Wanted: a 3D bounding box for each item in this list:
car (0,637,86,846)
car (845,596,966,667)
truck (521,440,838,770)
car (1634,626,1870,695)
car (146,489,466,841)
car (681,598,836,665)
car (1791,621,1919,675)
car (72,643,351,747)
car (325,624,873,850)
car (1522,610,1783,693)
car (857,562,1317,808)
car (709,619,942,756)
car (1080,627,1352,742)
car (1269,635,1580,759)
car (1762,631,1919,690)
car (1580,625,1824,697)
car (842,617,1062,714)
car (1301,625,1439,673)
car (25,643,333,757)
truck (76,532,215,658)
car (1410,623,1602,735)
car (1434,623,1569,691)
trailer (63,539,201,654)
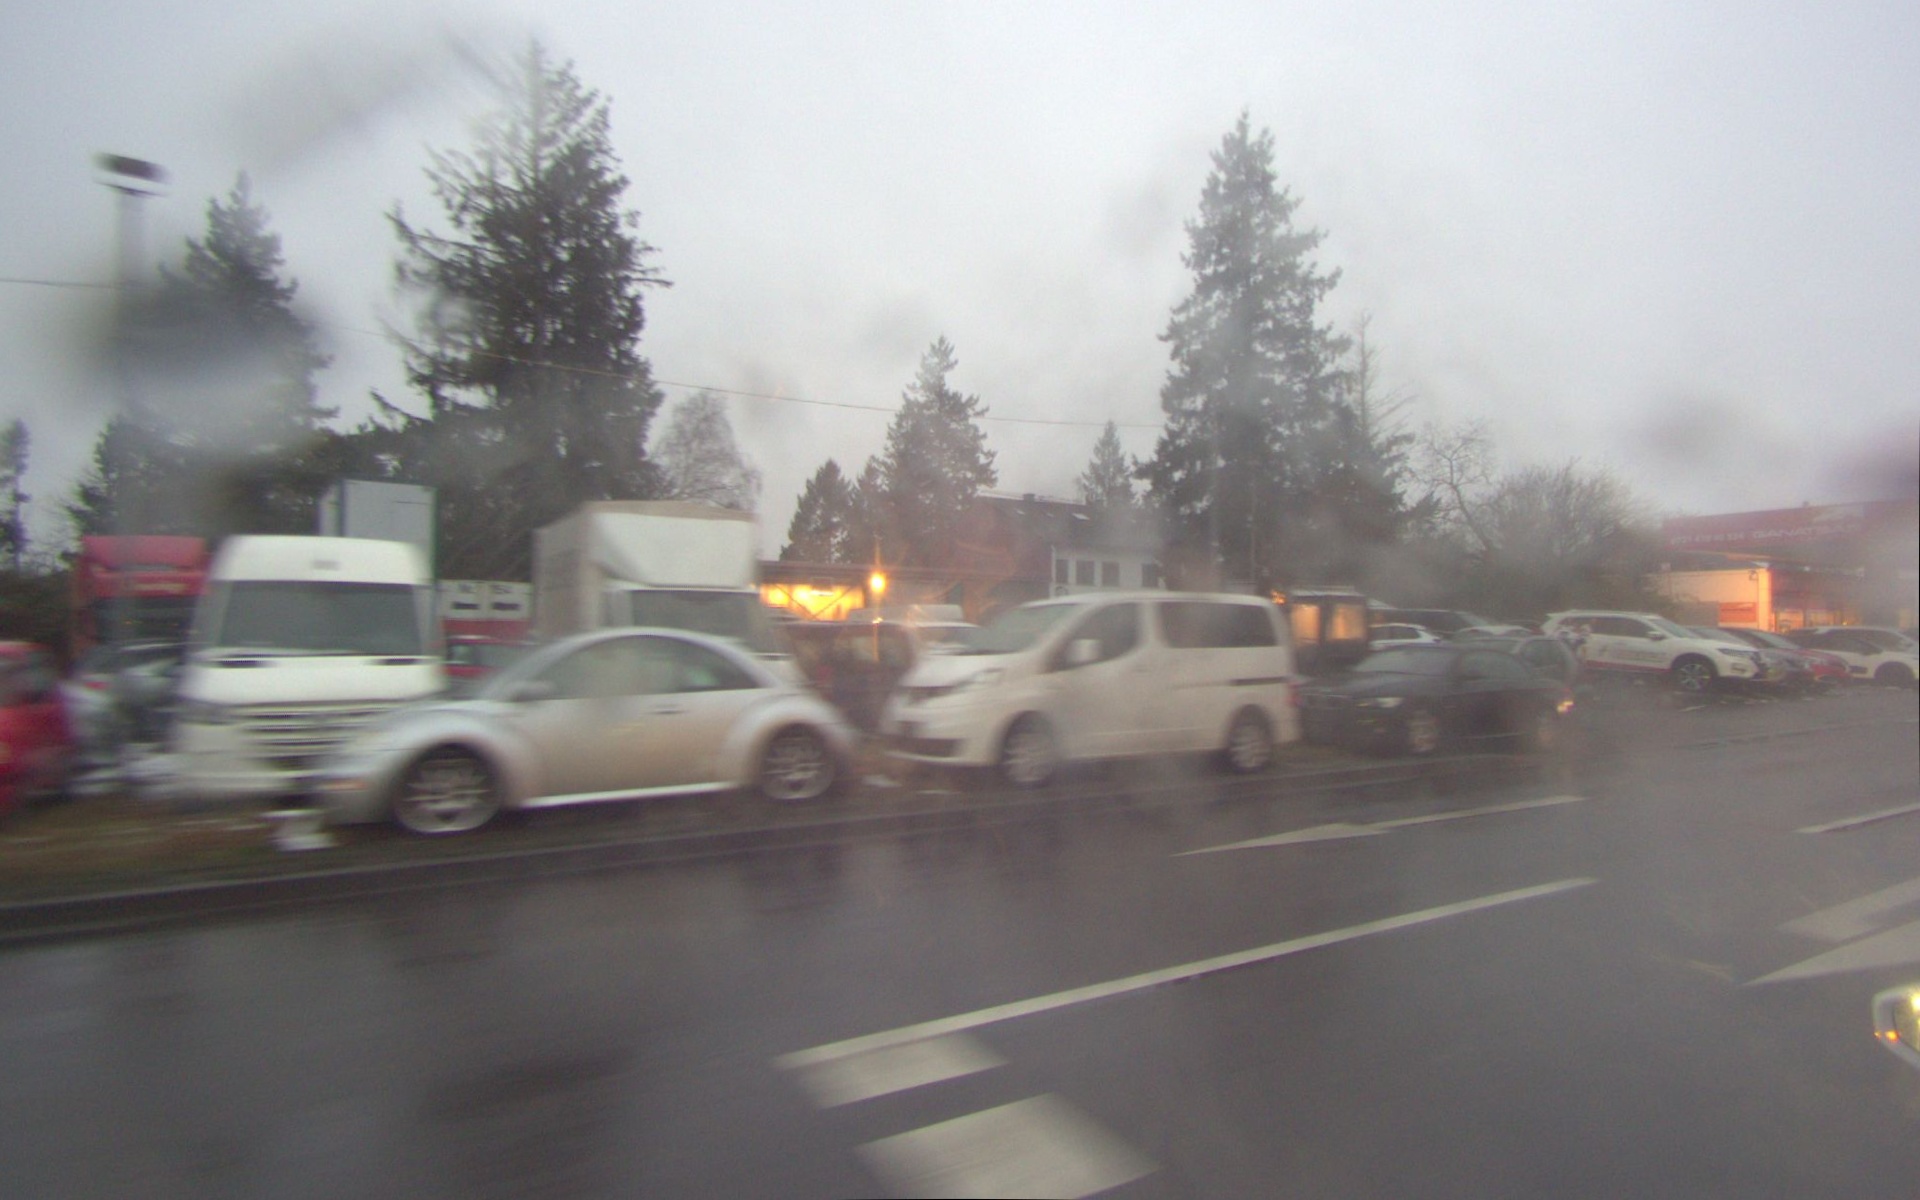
[{"bbox_3d":[-8.543,1.083,8.340,1.483,1.512,3.209,1,-2,-33],"label":"car"},{"bbox_3d":[-1.952,1.057,34.916,2.246,2.311,4.200,1,-1,-37],"label":"car"},{"bbox_3d":[-4.056,0.127,13.225,2.308,3.183,6.824,1,-1,-31],"label":"truck"},{"bbox_3d":[19.696,1.445,25.187,1.803,1.518,4.317,1,-1,-29],"label":"car"},{"bbox_3d":[-6.825,0.579,10.782,2.171,2.673,6.000,1,-2,-32],"label":"car"},{"bbox_3d":[-7.342,1.154,36.808,5.235,2.292,1.981,1,-1,-35],"label":"car"},{"bbox_3d":[29.565,1.511,32.250,1.917,1.672,4.031,1,-2,-28],"label":"car"},{"bbox_3d":[-11.721,1.434,16.024,3.413,1.399,1.603,0,-1,-32],"label":"car"},{"bbox_3d":[-2.756,0.913,8.040,3.793,1.431,1.643,1,-2,-29],"label":"car"},{"bbox_3d":[15.598,1.087,22.858,1.989,1.699,4.507,1,-1,-34],"label":"car"},{"bbox_3d":[1.355,0.757,10.206,4.428,2.040,1.827,1,-1,-29],"label":"car"},{"bbox_3d":[-2.189,1.192,15.357,2.003,1.755,4.025,1,-1,-33],"label":"car"},{"bbox_3d":[3.707,1.243,15.227,1.789,1.496,3.893,1,-4,-30],"label":"car"},{"bbox_3d":[5.948,1.196,12.719,4.211,1.338,1.562,3,-4,-33],"label":"car"},{"bbox_3d":[25.891,1.703,29.151,1.757,1.479,3.751,1,0,-32],"label":"car"},{"bbox_3d":[17.616,1.385,24.089,1.969,1.518,4.320,1,-1,-27],"label":"car"},{"bbox_3d":[-0.267,0.991,16.755,1.795,1.396,4.025,1,-1,-33],"label":"car"},{"bbox_3d":[12.535,1.489,30.861,3.550,1.402,1.675,0,-1,3],"label":"car"},{"bbox_3d":[-10.894,1.338,14.327,3.308,1.386,1.597,1,-1,-33],"label":"car"},{"bbox_3d":[-19.727,-0.091,24.258,2.219,2.732,4.663,1,-1,-44],"label":"truck"},{"bbox_3d":[8.715,1.214,16.039,2.828,1.666,1.170,0,-2,-22],"label":"car"},{"bbox_3d":[14.655,1.495,27.139,3.666,1.699,1.660,1,-1,-33],"label":"car"},{"bbox_3d":[-23.403,-0.074,28.141,2.205,2.709,10.370,1,-1,-44],"label":"trailer"}]
